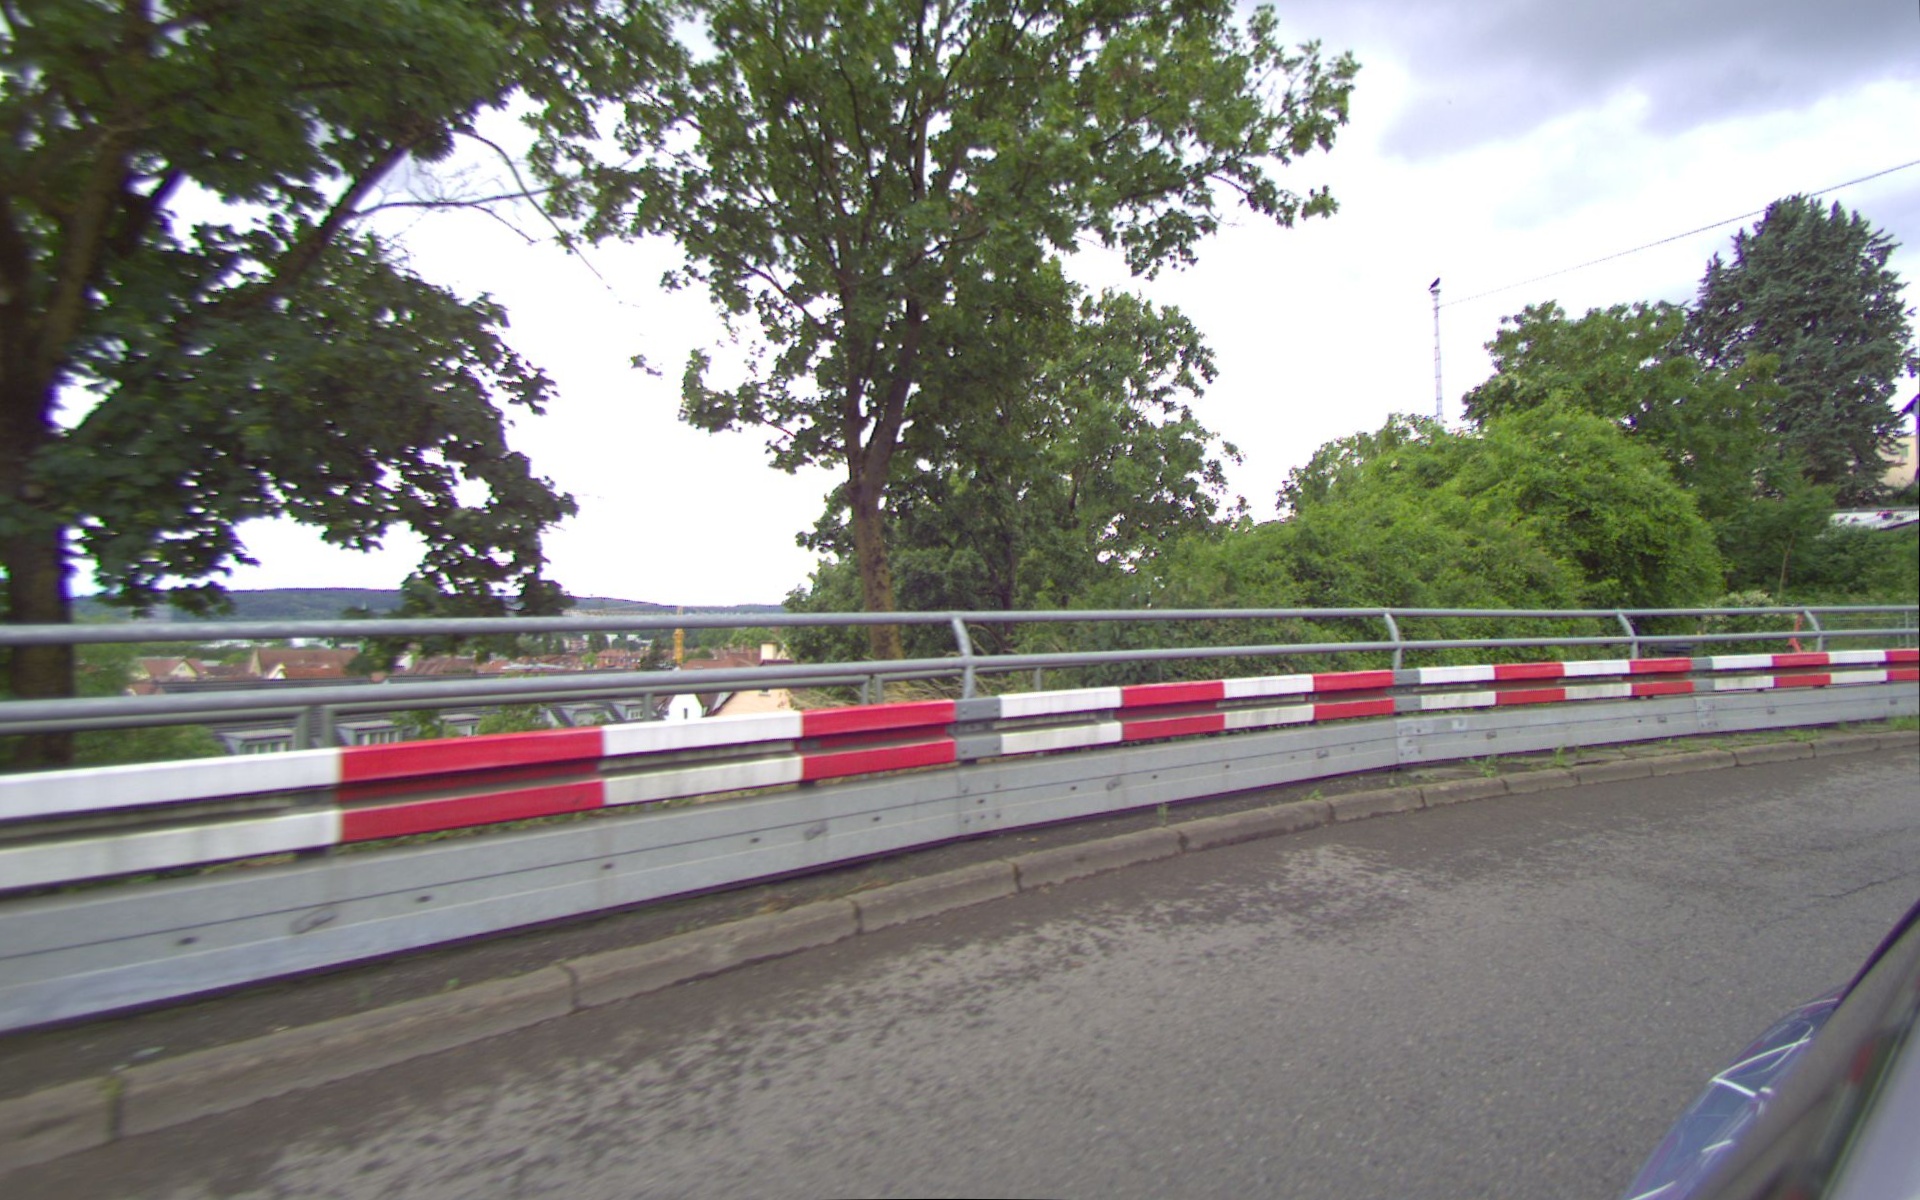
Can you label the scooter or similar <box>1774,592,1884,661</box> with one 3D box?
[{"bbox_3d":[16.704,0.525,19.492,0.428,1.267,1.501,1,-3,-33],"label":"scooter or similar"}]
